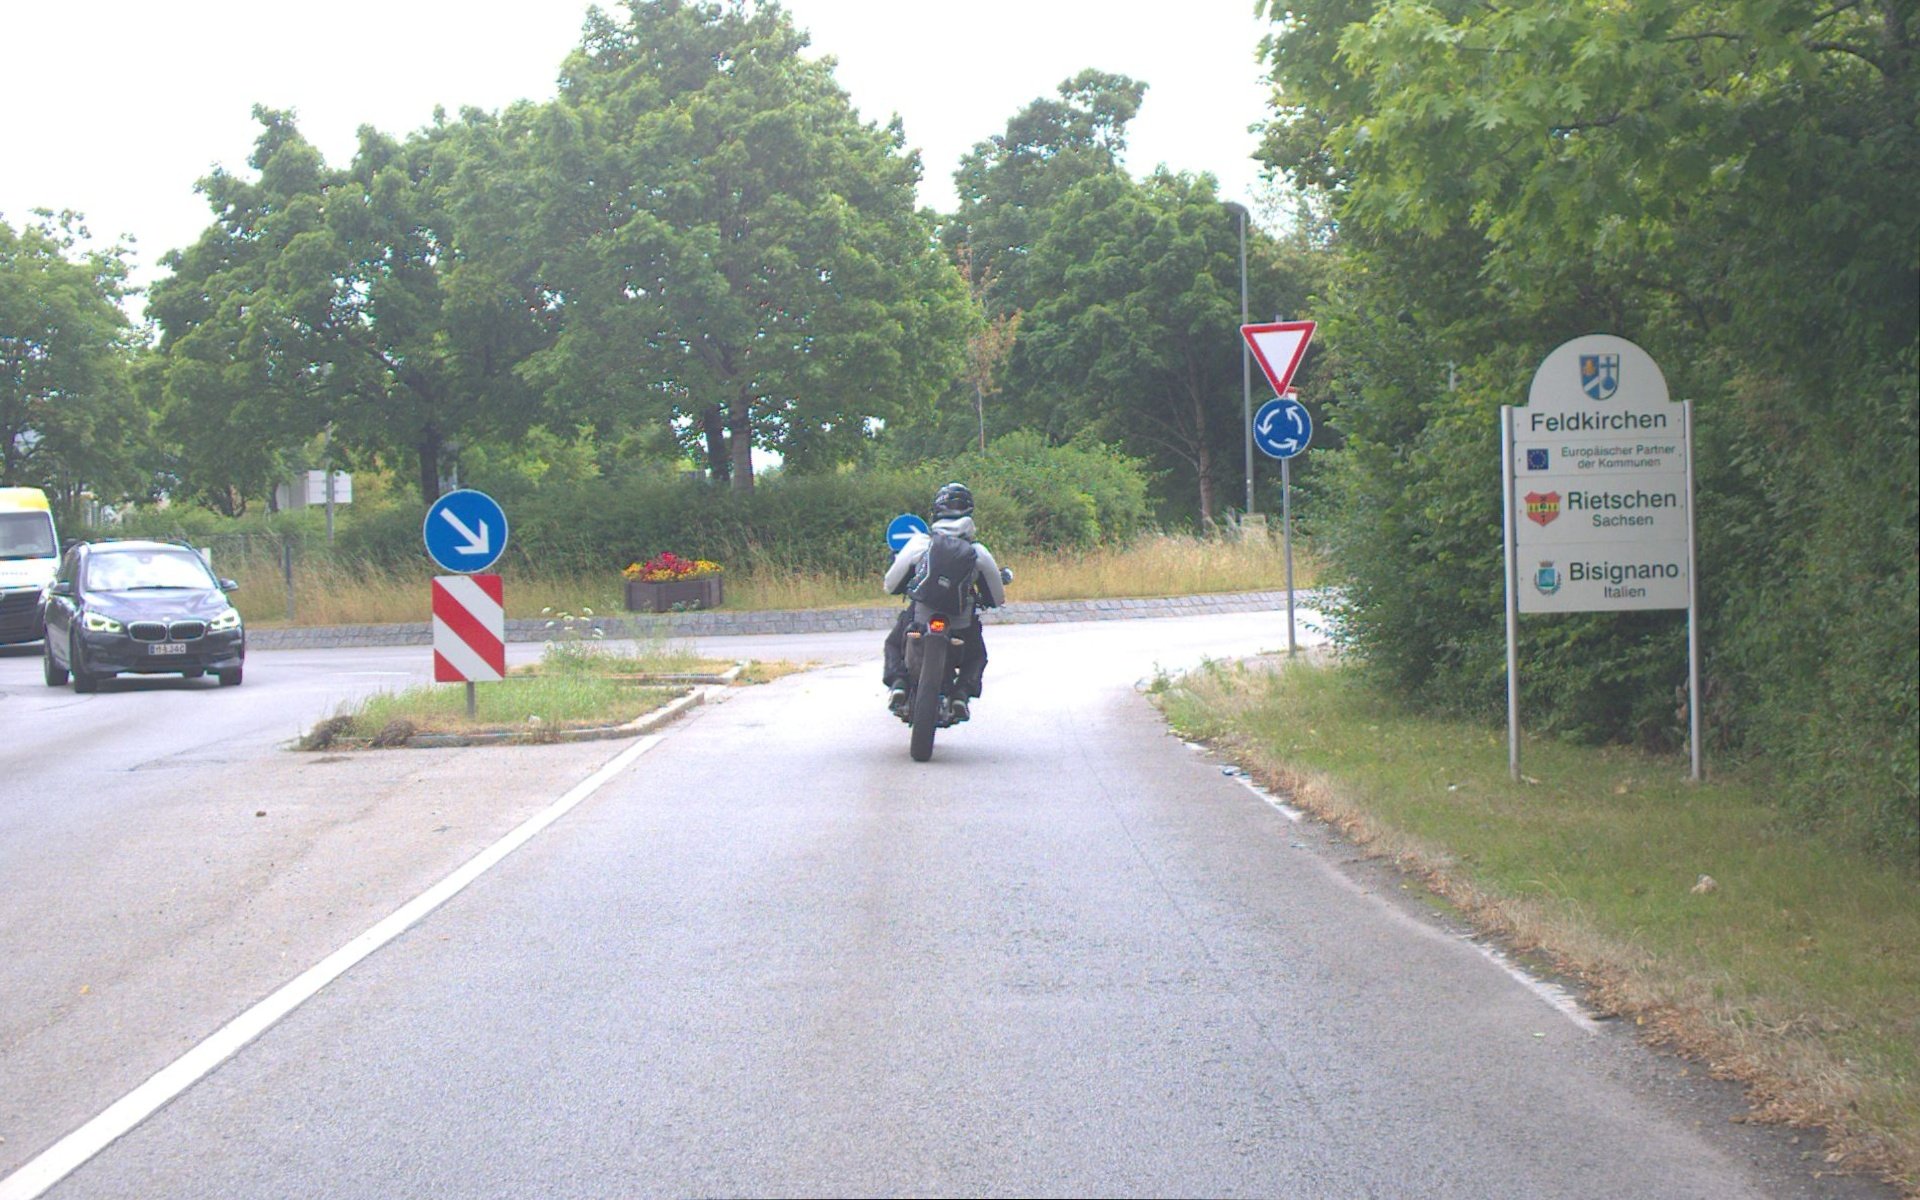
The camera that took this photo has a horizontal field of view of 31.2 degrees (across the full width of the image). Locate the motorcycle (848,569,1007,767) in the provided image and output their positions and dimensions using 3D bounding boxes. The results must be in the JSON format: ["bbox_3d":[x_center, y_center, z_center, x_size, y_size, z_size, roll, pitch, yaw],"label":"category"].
[{"bbox_3d":[-0.181,0.406,22.380,0.896,1.154,2.620,-1,1,2],"label":"motorcycle"}]

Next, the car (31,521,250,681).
[{"bbox_3d":[-9.173,-0.004,38.250,1.738,1.580,4.357,-4,1,-21],"label":"car"}]

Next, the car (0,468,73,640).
[{"bbox_3d":[-14.633,-0.696,52.008,2.161,2.443,5.444,-2,2,-15],"label":"car"}]

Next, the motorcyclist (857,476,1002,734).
[{"bbox_3d":[-0.186,0.020,22.347,0.861,1.618,1.190,-1,1,2],"label":"motorcyclist"}]
